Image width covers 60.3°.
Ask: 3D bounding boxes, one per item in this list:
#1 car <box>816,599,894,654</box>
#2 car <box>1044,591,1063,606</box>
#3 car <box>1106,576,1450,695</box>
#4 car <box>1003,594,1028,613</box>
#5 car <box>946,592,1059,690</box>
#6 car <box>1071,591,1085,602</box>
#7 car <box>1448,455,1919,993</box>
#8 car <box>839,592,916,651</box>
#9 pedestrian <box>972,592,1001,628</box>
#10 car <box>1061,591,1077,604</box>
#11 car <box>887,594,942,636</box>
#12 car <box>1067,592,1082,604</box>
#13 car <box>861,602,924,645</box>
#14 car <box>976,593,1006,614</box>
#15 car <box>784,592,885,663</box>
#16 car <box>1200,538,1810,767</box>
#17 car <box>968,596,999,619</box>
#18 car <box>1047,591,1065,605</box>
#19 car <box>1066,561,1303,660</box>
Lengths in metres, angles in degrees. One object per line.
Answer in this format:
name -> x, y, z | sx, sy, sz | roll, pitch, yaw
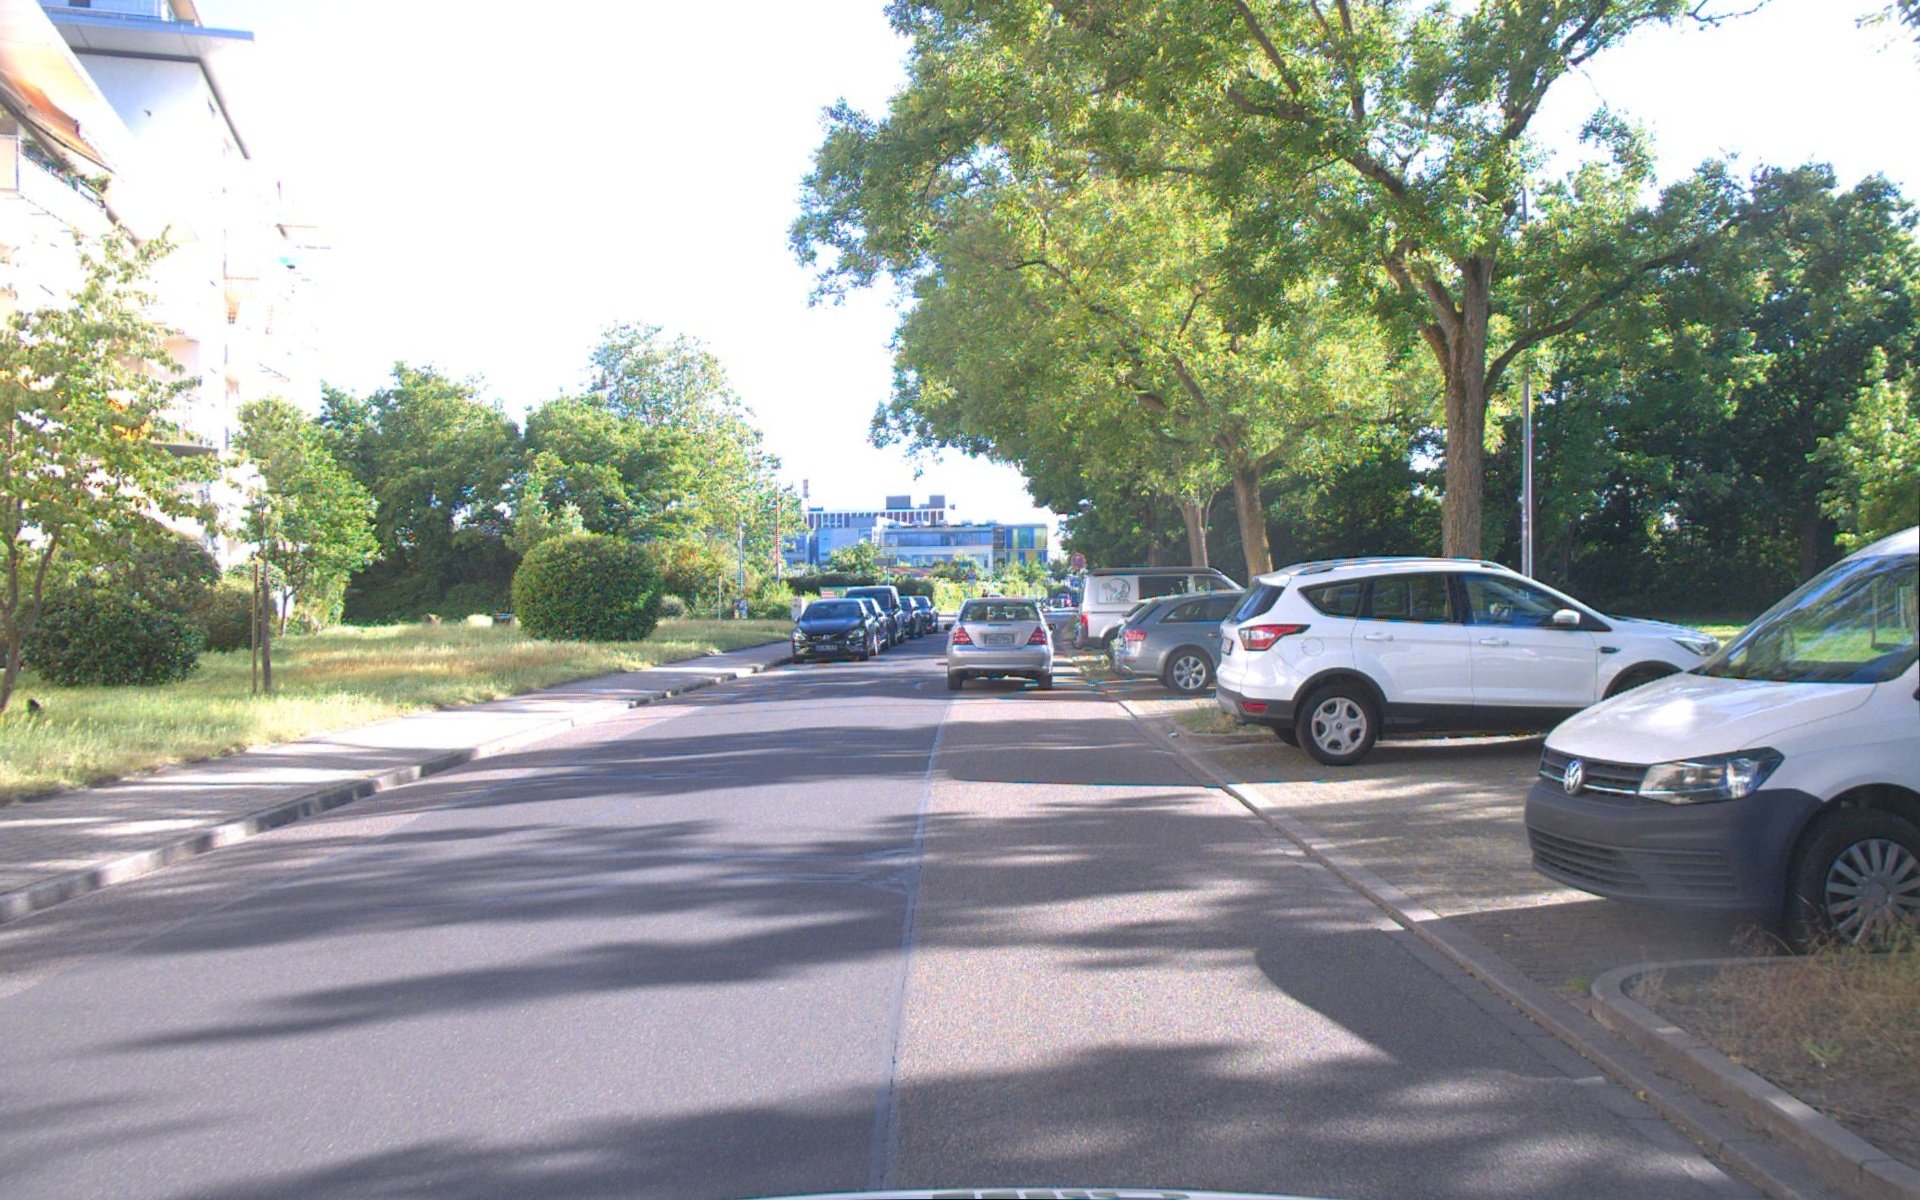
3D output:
car -> -2.849, 0.699, 45.665 | 1.714, 1.346, 3.743 | -3, 0, 2
car -> 10.263, -0.168, 180.904 | 1.853, 1.529, 3.659 | -1, 0, 6
car -> 4.728, 0.515, 25.053 | 4.787, 1.656, 1.999 | -1, 0, -3
car -> 4.712, 0.310, 140.855 | 1.853, 1.529, 3.659 | -1, 0, 6
car -> 0.664, 0.649, 26.687 | 1.697, 1.459, 3.438 | 0, -1, 1
car -> 16.503, -0.532, 231.675 | 1.853, 1.529, 3.659 | -1, 0, 6
car -> 4.887, 0.391, 7.368 | 4.792, 1.957, 1.997 | -2, 0, -7
car -> -2.519, 0.644, 51.739 | 1.713, 1.718, 4.267 | -2, 0, 6
pedestrian -> 1.597, 0.597, 99.343 | 1.540, 2.125, 1.725 | -1, 0, 9
car -> 13.509, -0.352, 204.522 | 1.853, 1.529, 3.659 | -1, 0, 6
car -> -1.756, 0.561, 64.872 | 1.713, 1.547, 4.195 | -2, 0, 4
car -> 15.371, -0.322, 221.585 | 1.853, 1.529, 3.659 | -1, 0, 6
car -> -2.350, 0.807, 58.312 | 1.713, 1.353, 3.453 | -3, 0, 5
car -> 2.319, 0.255, 123.229 | 1.853, 1.529, 3.659 | -1, 0, 6
car -> -2.950, 0.620, 39.672 | 1.873, 1.516, 3.838 | -3, 0, 3
car -> 4.702, 0.428, 14.841 | 4.784, 1.753, 2.000 | -2, 1, 0
car -> 1.662, 0.519, 114.958 | 1.853, 1.529, 3.659 | -1, 0, 6
car -> 10.840, -0.215, 186.850 | 1.853, 1.529, 3.659 | -1, 0, 6
car -> 4.990, 0.227, 37.383 | 5.109, 2.095, 2.001 | -1, 0, 2
